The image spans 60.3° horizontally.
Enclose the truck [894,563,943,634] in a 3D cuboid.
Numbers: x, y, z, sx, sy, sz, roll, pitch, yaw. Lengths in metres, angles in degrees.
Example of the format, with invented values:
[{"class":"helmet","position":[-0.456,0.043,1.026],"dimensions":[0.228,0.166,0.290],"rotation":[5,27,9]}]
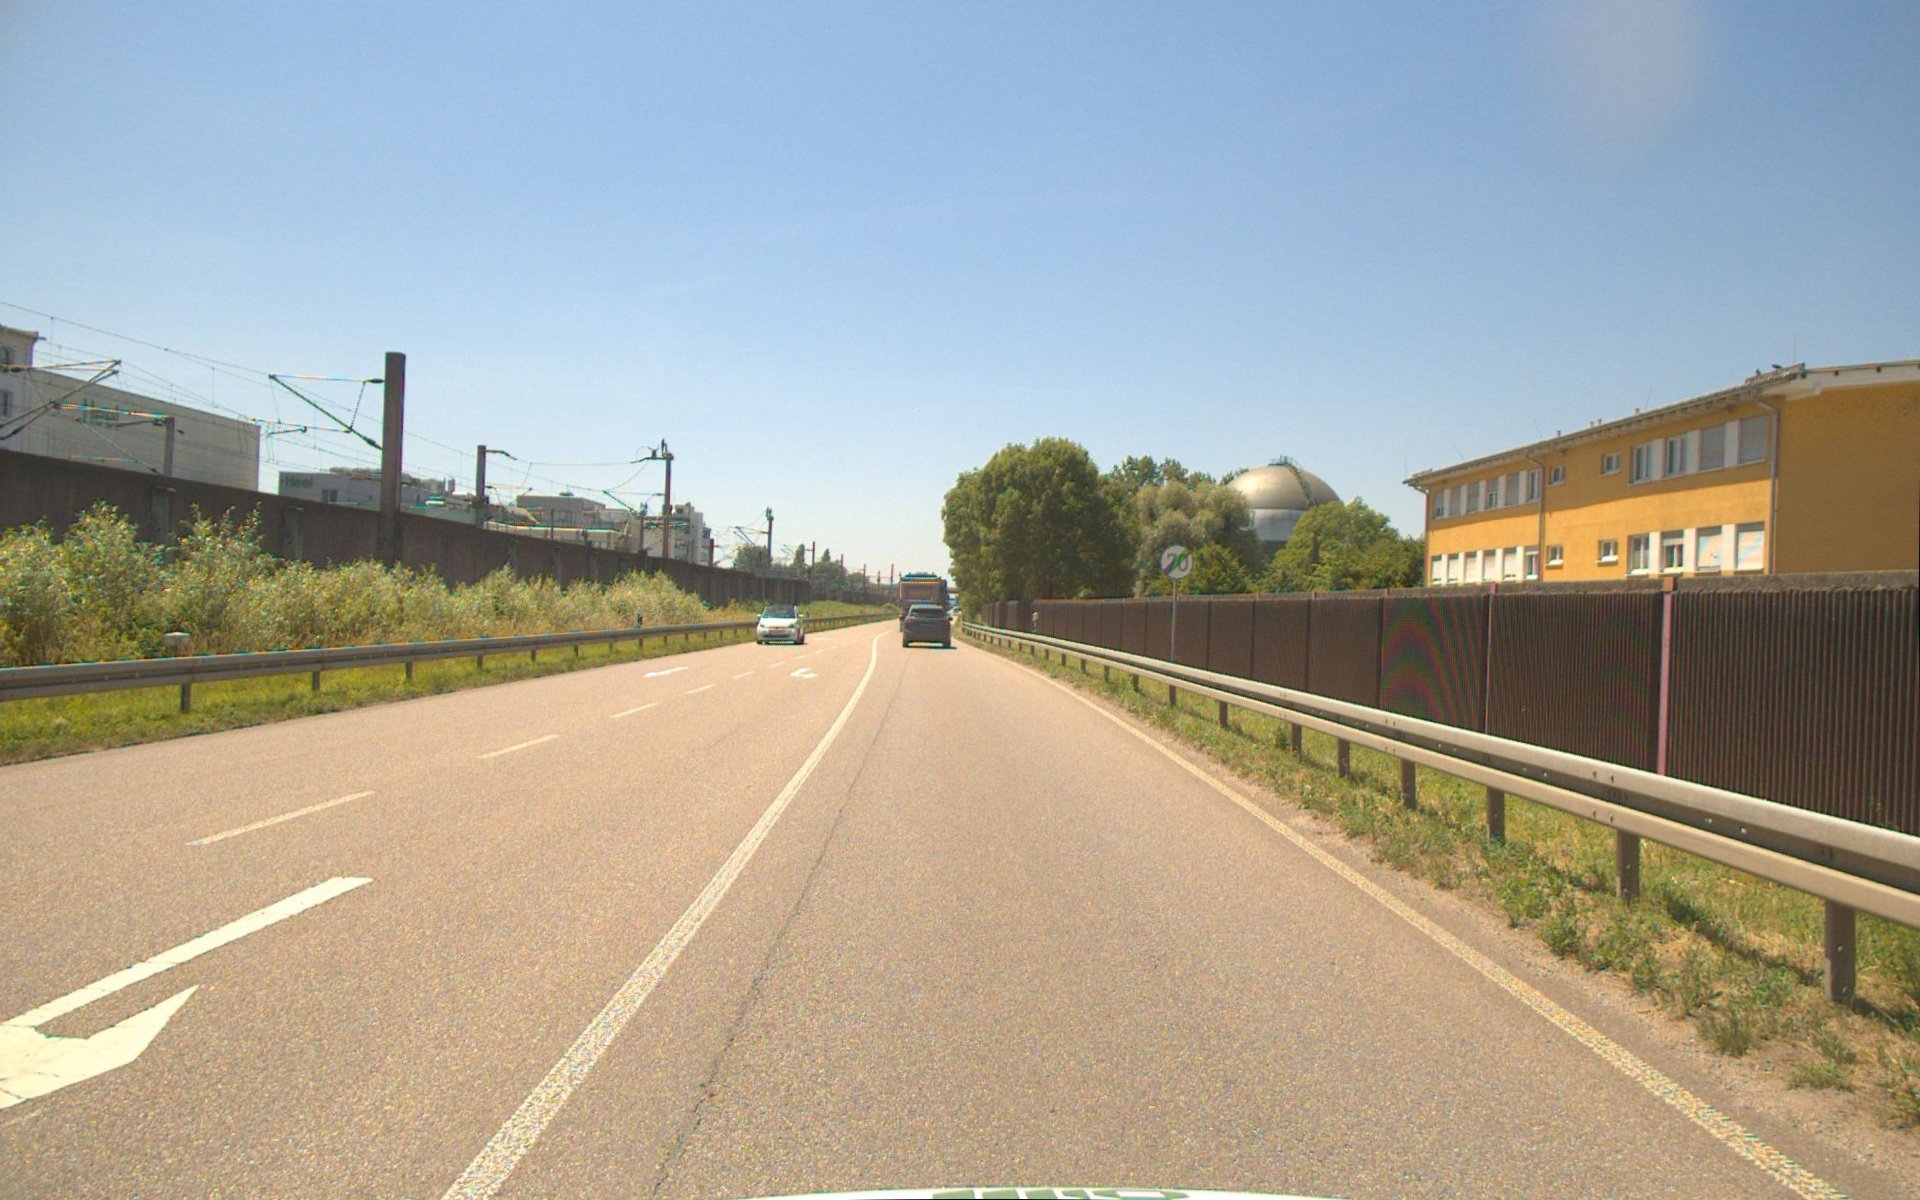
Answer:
[{"class":"truck","position":[-2.696,0.037,105.437],"dimensions":[2.935,4.254,11.801],"rotation":[1,-1,-2]}]

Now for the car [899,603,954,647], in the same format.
[{"class":"car","position":[-1.237,0.967,62.138],"dimensions":[1.953,1.529,3.999],"rotation":[2,-2,-1]}]

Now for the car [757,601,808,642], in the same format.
[{"class":"car","position":[-6.845,0.825,64.013],"dimensions":[1.638,1.528,3.720],"rotation":[1,0,-2]}]
